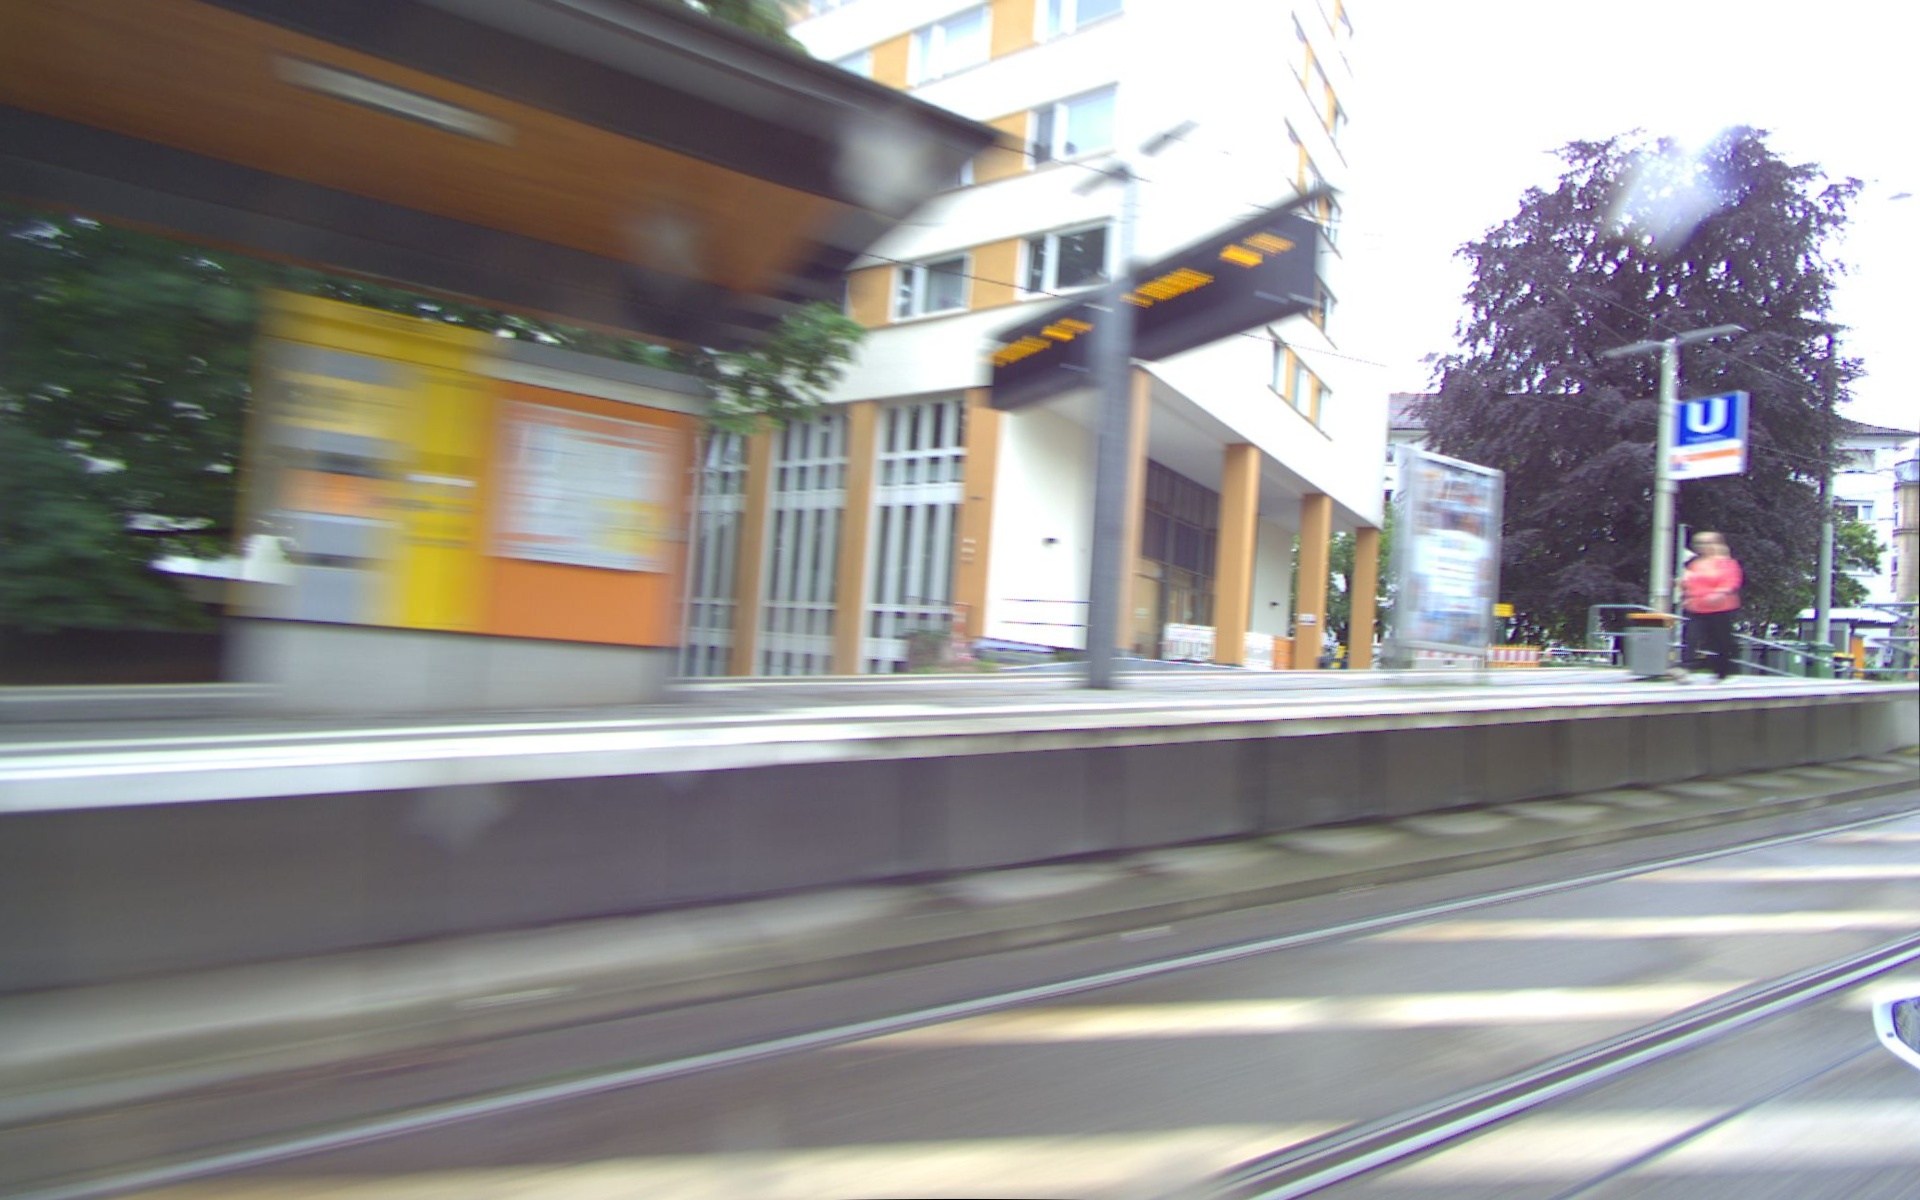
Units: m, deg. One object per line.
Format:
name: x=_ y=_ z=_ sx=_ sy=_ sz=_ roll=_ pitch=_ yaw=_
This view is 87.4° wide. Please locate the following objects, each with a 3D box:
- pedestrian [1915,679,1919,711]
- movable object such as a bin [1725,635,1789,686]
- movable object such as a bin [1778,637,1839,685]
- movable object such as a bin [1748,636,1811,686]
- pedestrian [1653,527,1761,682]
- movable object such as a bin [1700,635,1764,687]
pedestrian: x=52.527 y=5.183 z=54.528 sx=0.730 sy=1.722 sz=0.673 roll=2 pitch=0 yaw=16
movable object such as a bin: x=23.856 y=1.807 z=30.071 sx=1.338 sy=1.453 sz=1.017 roll=2 pitch=0 yaw=-28
movable object such as a bin: x=26.810 y=1.910 z=31.735 sx=1.409 sy=1.453 sz=1.017 roll=2 pitch=0 yaw=-28
movable object such as a bin: x=25.232 y=1.855 z=30.917 sx=1.426 sy=1.453 sz=1.017 roll=2 pitch=0 yaw=-28
pedestrian: x=7.930 y=0.056 z=10.668 sx=0.762 sy=1.568 sz=0.668 roll=1 pitch=-2 yaw=-30
movable object such as a bin: x=22.588 y=1.763 z=29.388 sx=1.288 sy=1.453 sz=1.017 roll=2 pitch=0 yaw=-28
